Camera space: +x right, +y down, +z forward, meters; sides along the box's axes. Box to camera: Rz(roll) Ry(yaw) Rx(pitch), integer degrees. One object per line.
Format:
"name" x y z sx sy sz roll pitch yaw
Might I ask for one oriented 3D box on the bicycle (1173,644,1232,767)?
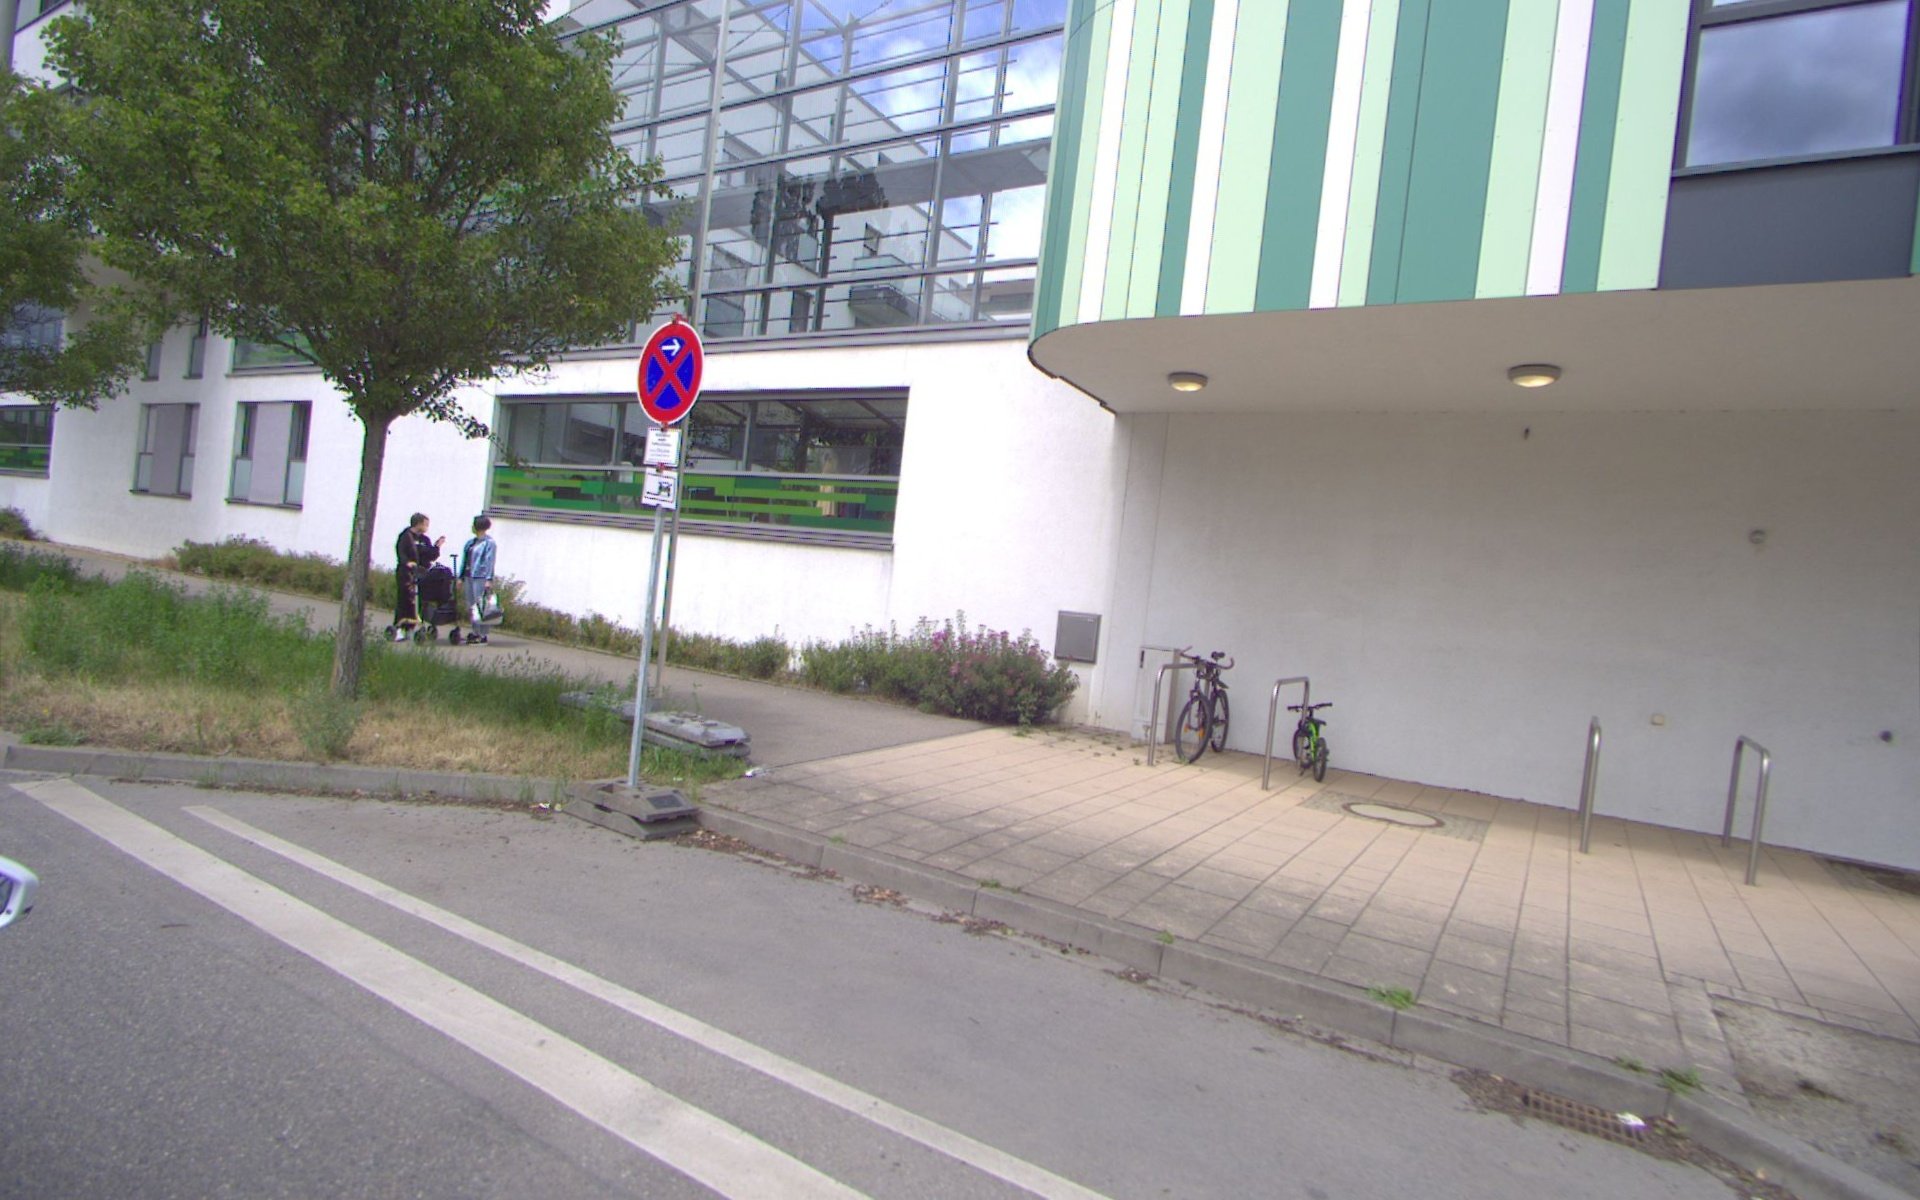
"bicycle" 2.382 0.986 9.812 0.301 1.059 1.469 7 1 19

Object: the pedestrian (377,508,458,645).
"pedestrian" -6.981 -0.296 12.952 0.543 1.676 0.605 7 2 31

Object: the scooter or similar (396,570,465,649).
"scooter or similar" -6.697 0.121 12.723 0.670 0.917 0.422 7 2 31

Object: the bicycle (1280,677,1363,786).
"bicycle" 3.365 1.204 9.419 0.301 0.852 1.024 6 1 -1

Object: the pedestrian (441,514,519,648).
"pedestrian" -6.309 -0.239 13.225 0.597 1.676 0.550 7 2 31
